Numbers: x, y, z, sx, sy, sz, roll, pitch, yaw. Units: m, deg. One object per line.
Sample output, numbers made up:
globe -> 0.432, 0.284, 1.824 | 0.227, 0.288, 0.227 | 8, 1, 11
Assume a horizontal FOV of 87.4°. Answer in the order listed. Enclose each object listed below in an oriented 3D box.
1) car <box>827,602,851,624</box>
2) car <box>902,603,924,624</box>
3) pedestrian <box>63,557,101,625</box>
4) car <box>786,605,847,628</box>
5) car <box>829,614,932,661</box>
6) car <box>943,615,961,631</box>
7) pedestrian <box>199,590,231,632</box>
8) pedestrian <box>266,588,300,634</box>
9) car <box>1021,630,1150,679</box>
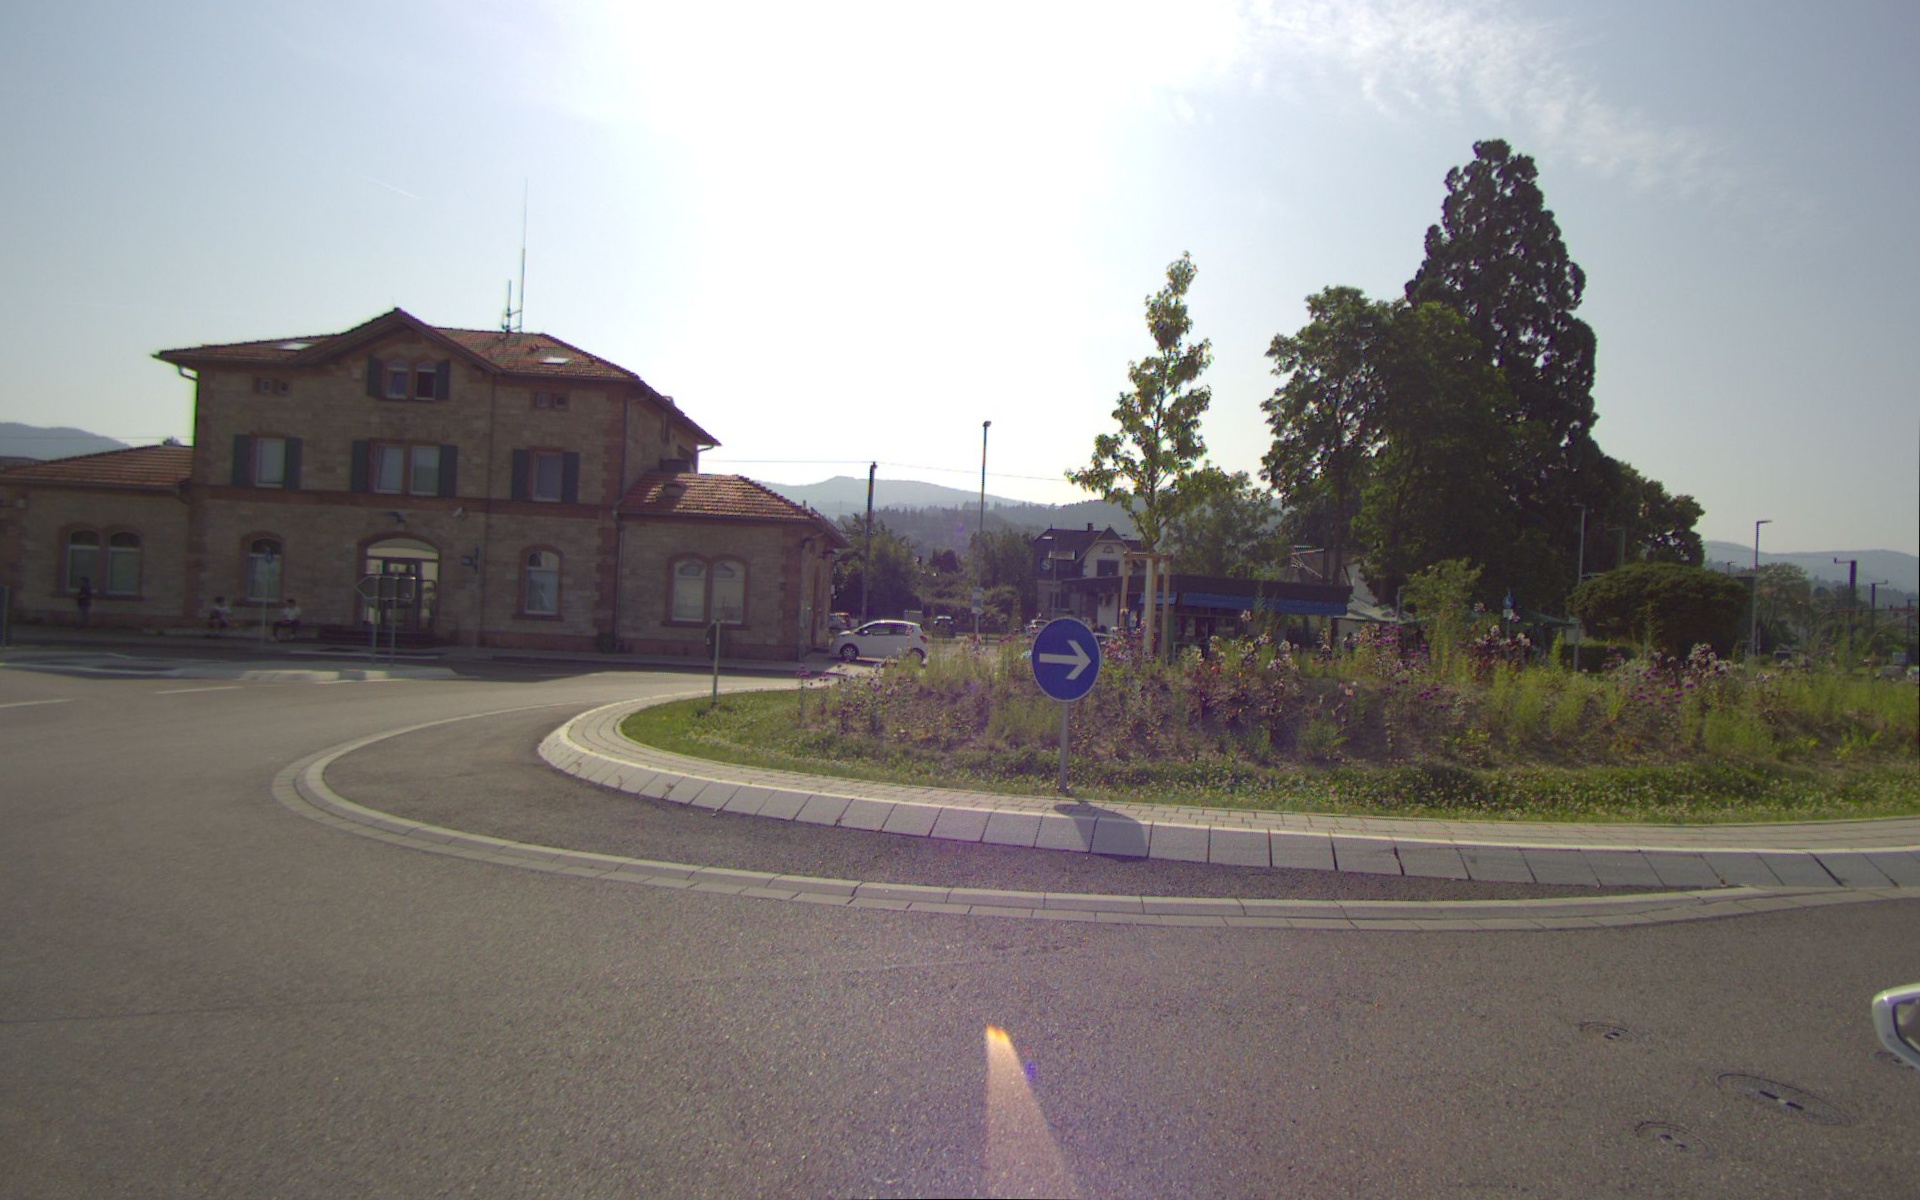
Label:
car -> -9.287, 1.007, 77.029 | 1.583, 1.554, 3.576 | 3, -2, -10
car -> -3.847, 1.118, 81.482 | 1.582, 1.554, 3.580 | 3, -2, -4
pedestrian -> -27.312, -0.274, 31.250 | 0.566, 2.040, 0.531 | 2, -2, 13
car -> -9.636, 1.126, 67.448 | 3.932, 1.358, 1.608 | 3, -2, -13
car -> -2.783, 1.309, 35.167 | 3.471, 1.469, 1.391 | 2, -1, -6
car -> -0.734, 2.068, 91.272 | 1.365, 1.382, 3.538 | 2, -1, 3
pedestrian -> -22.560, 0.337, 30.422 | 0.573, 1.219, 0.443 | 3, -2, -5
pedestrian -> -20.522, 0.348, 30.462 | 0.541, 1.367, 0.566 | 3, -2, -2
car -> 3.364, 1.453, 26.834 | 3.202, 1.187, 1.383 | 3, -1, -27
